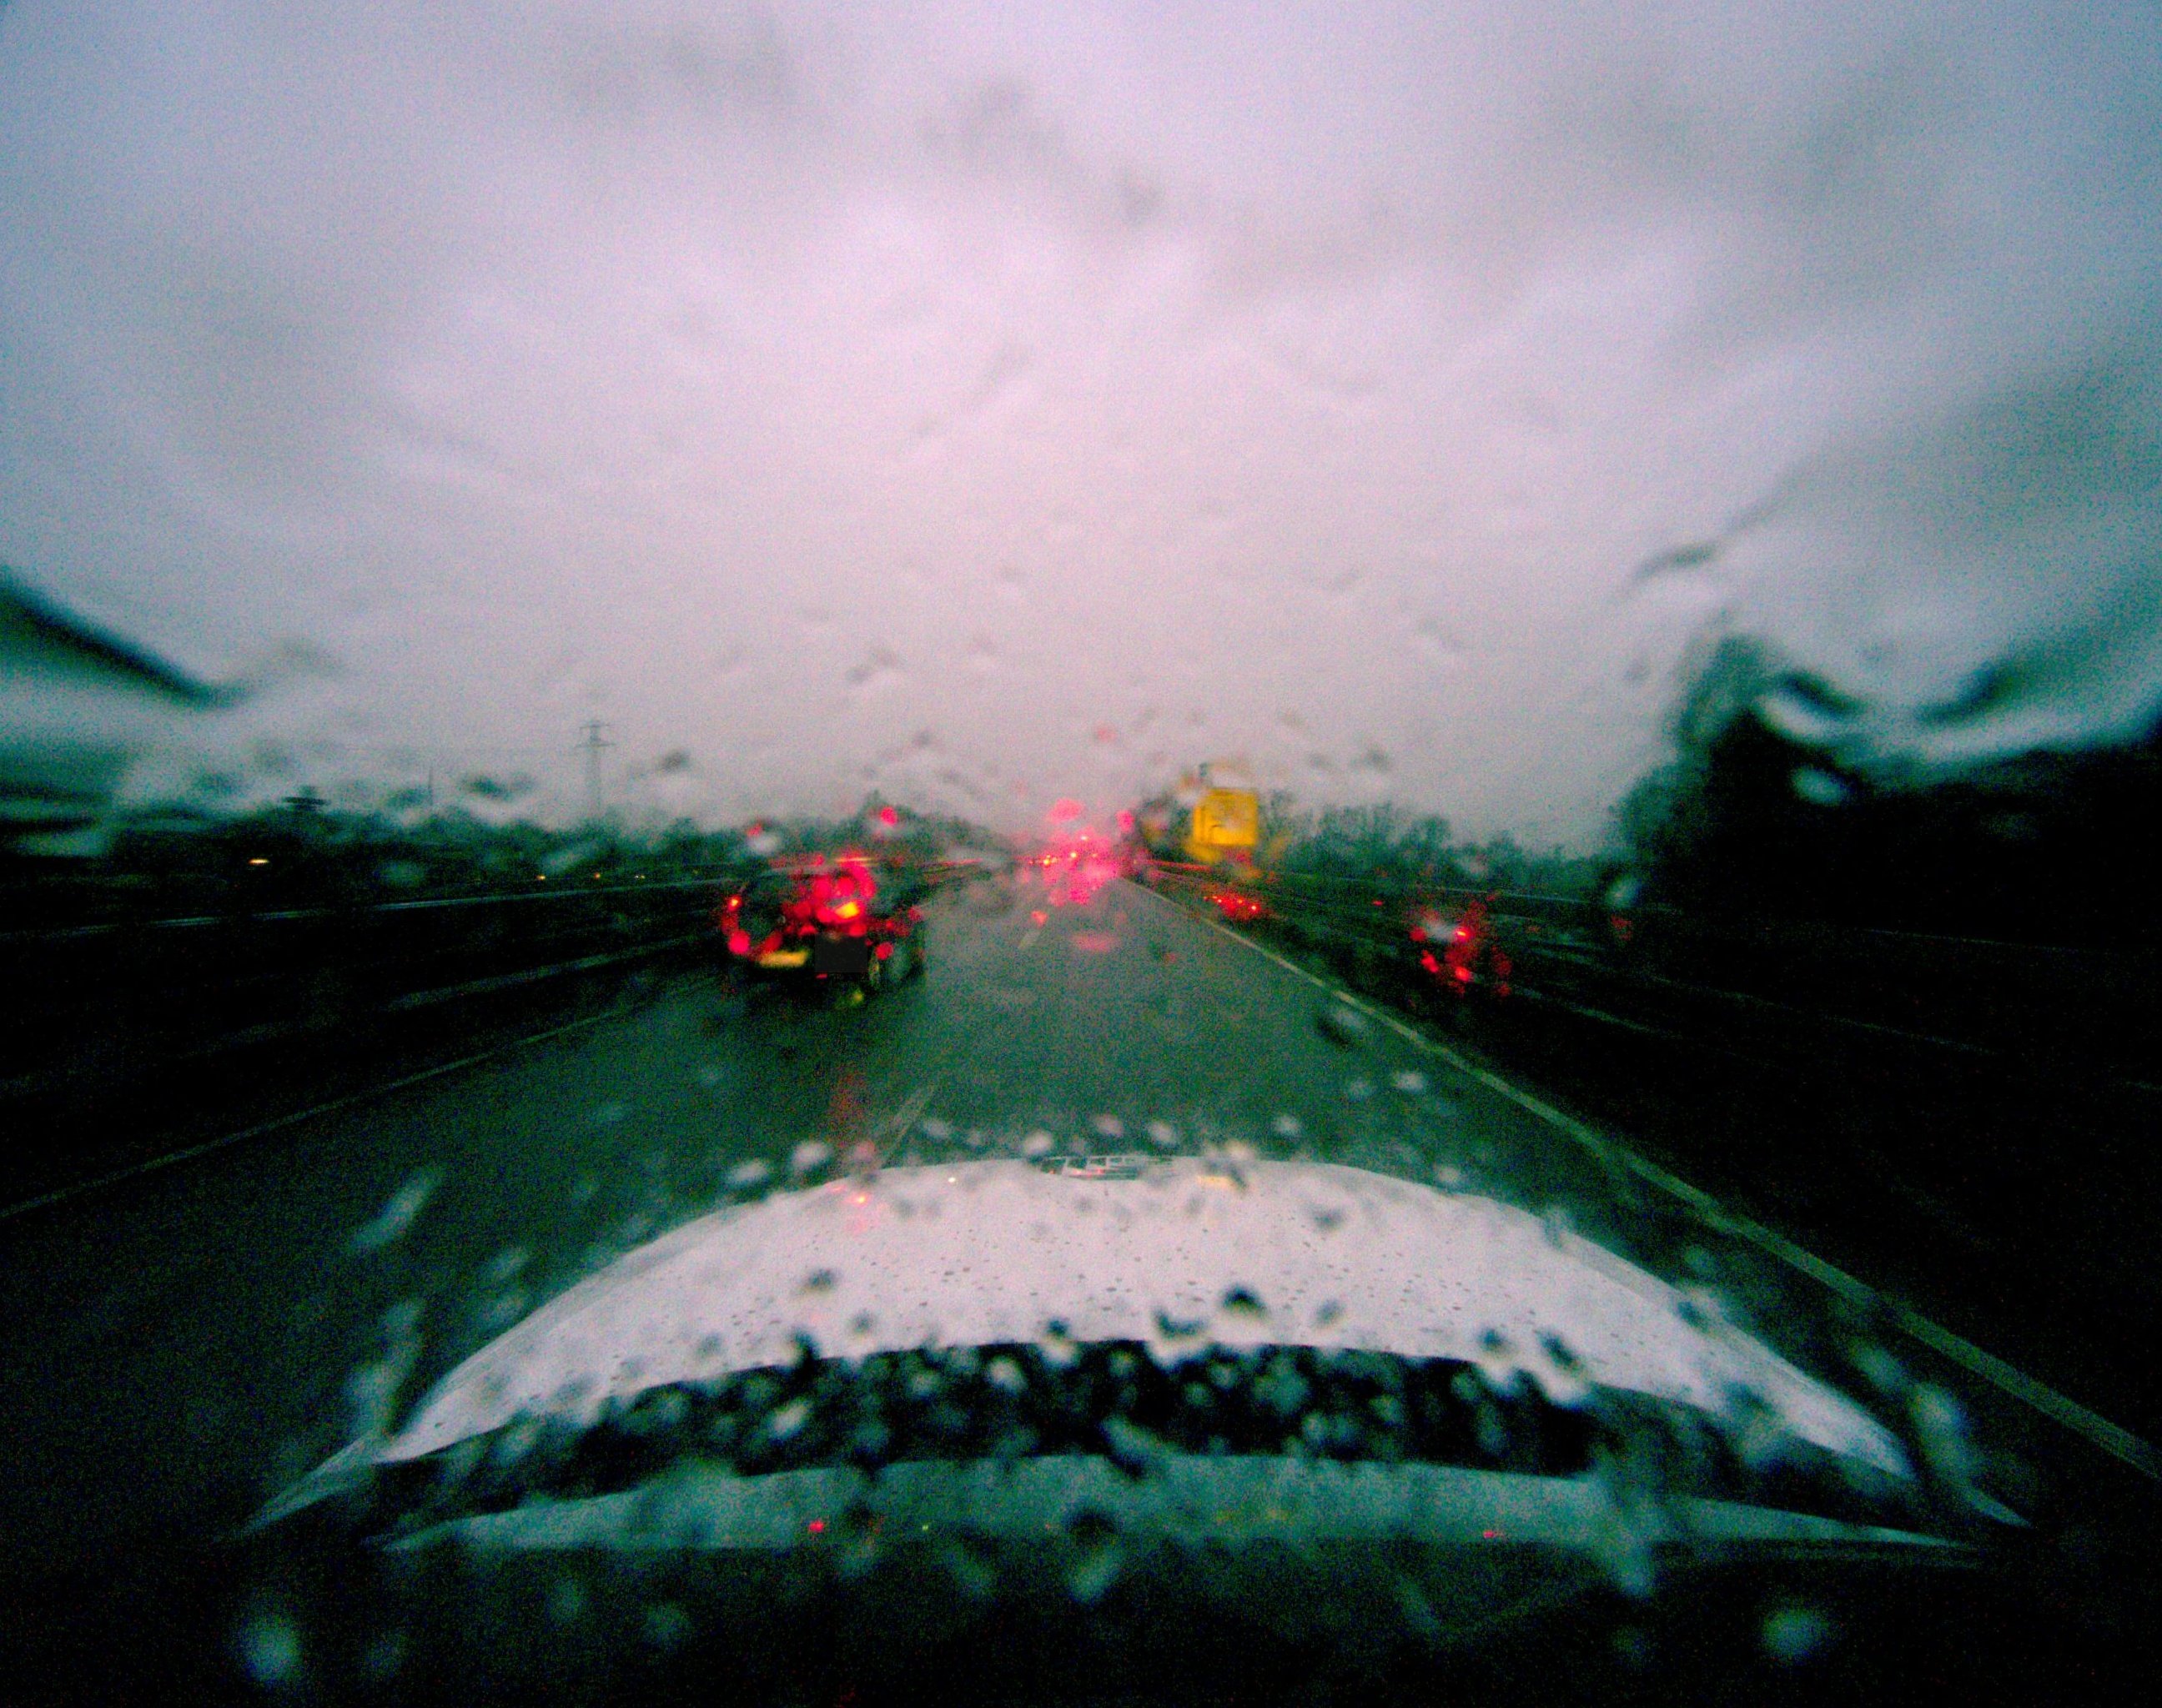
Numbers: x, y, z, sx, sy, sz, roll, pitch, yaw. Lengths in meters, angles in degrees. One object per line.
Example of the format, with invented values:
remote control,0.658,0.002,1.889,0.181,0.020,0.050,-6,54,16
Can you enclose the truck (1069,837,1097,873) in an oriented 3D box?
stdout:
truck,0.168,0.156,73.557,2.375,2.909,4.671,0,-4,-1

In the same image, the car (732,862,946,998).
car,-2.933,0.836,10.766,1.621,1.392,3.999,-2,0,-1

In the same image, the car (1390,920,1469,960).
car,15.397,3.760,36.208,1.671,1.281,3.998,6,-1,0

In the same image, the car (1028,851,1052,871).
car,-3.499,0.634,69.876,1.829,1.538,3.998,1,-2,-1
